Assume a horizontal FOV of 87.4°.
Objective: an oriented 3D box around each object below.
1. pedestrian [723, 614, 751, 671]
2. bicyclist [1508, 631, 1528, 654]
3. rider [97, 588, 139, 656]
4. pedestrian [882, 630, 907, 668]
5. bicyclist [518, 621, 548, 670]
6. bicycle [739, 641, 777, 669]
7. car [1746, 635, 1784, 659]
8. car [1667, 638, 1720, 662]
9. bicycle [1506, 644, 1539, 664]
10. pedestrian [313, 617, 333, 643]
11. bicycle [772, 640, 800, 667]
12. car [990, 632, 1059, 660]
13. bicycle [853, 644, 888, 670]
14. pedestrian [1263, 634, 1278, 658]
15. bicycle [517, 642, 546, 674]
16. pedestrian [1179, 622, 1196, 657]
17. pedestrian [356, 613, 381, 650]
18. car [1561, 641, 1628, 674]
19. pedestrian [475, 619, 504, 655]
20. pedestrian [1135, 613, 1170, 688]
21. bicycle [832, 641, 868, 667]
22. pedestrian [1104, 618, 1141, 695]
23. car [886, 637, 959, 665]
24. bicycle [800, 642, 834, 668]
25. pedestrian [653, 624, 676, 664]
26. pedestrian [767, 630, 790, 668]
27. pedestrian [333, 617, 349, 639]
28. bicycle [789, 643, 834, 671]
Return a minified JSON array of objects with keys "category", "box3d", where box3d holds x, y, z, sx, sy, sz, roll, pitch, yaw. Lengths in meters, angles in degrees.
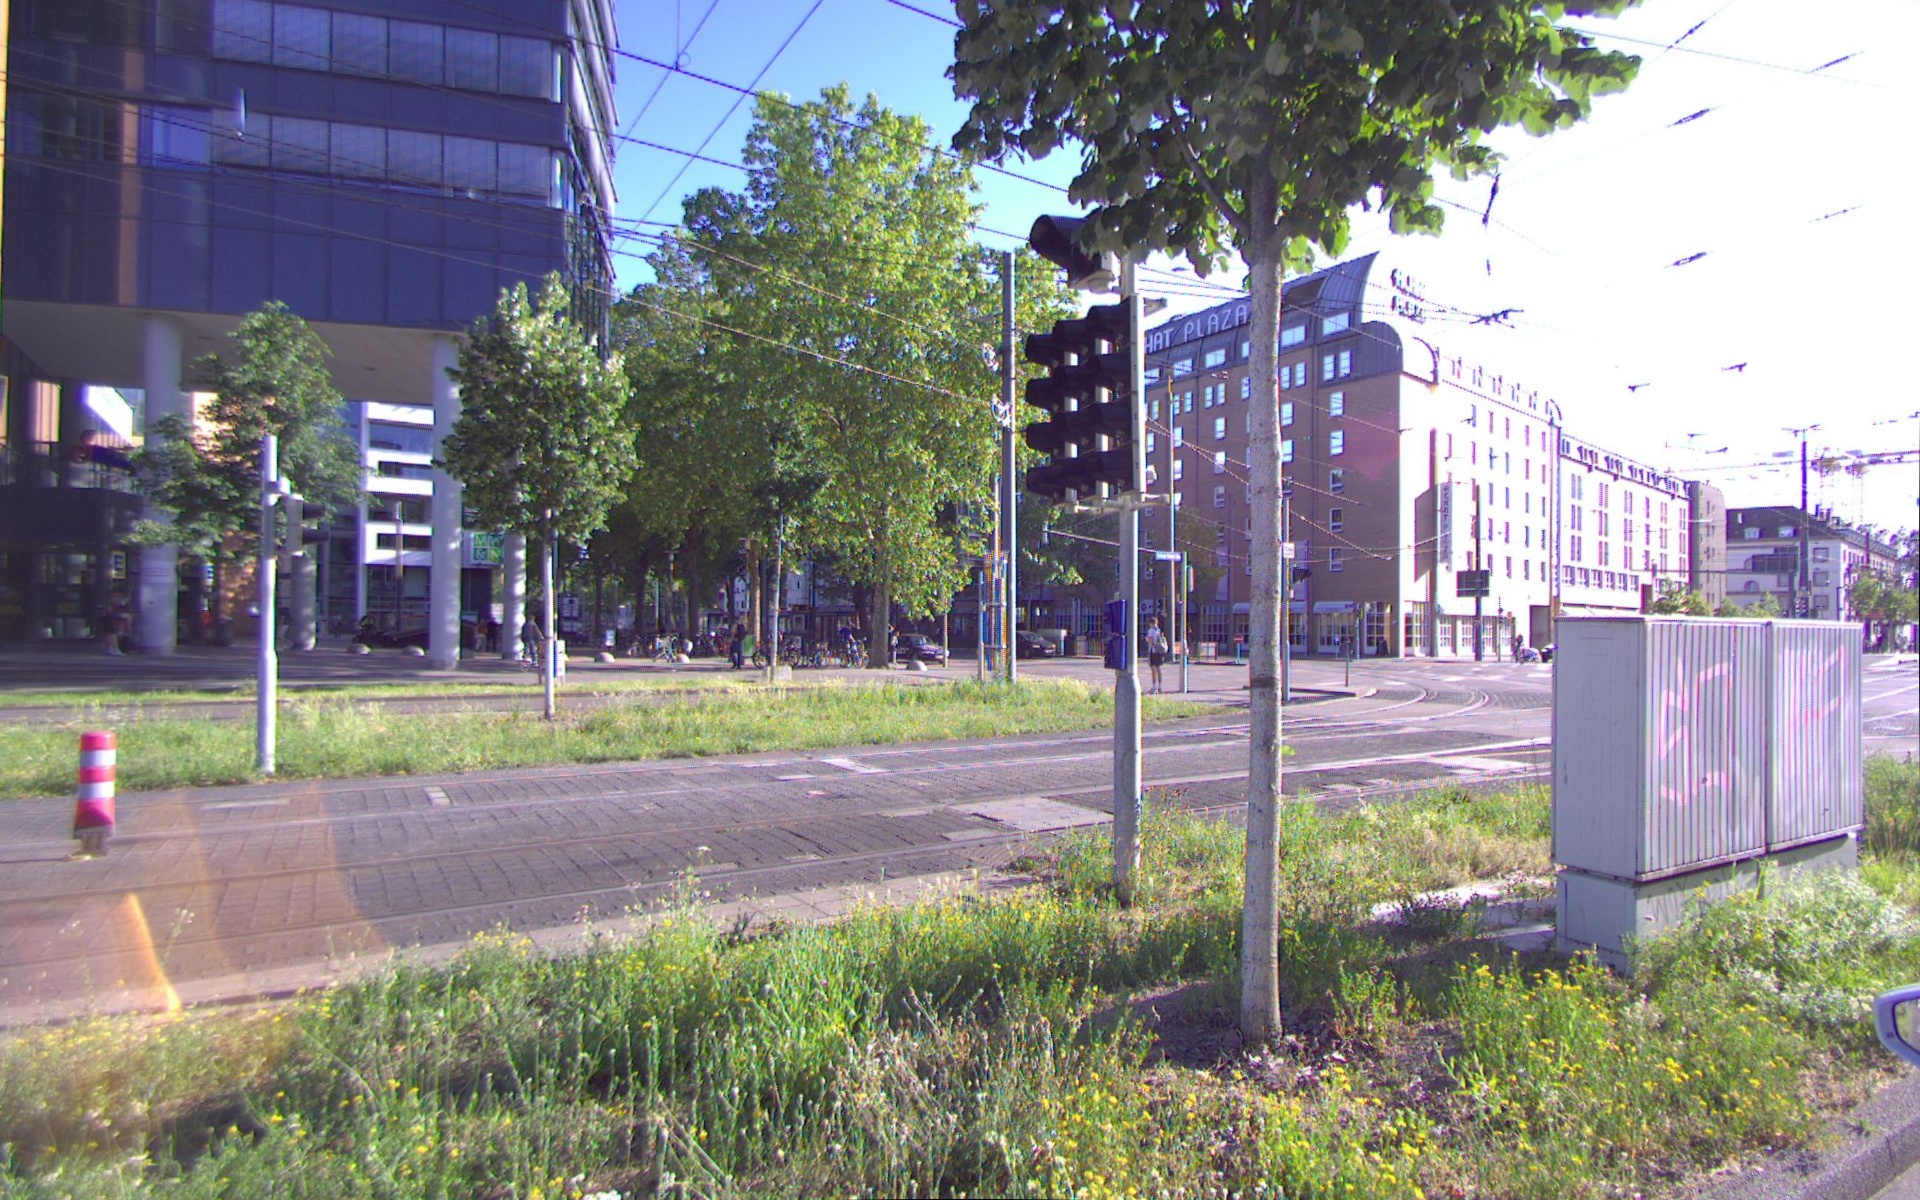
[{"category":"pedestrian","box3d":[-8.135,1.539,36.679,0.826,2.040,0.730,1,0,-25]},{"category":"bicyclist","box3d":[33.379,2.534,60.060,0.942,1.393,0.752,1,-1,-37]},{"category":"rider","box3d":[-22.984,0.602,27.428,0.704,1.826,0.715,1,-1,-29]},{"category":"pedestrian","box3d":[-2.867,2.125,43.996,0.832,1.619,0.692,1,0,-33]},{"category":"bicyclist","box3d":[-13.225,1.398,31.157,0.668,1.484,1.014,1,-1,-14]},{"category":"bicycle","box3d":[-7.582,2.051,37.675,0.538,0.964,1.748,2,-2,-44]},{"category":"car","box3d":[53.539,3.071,66.799,1.726,1.524,3.859,-1,-2,43]},{"category":"car","box3d":[47.592,3.241,65.157,3.960,1.468,1.563,2,-2,-35]},{"category":"bicycle","box3d":[33.842,3.235,60.394,2.901,1.099,0.645,2,-2,-38]},{"category":"pedestrian","box3d":[-38.533,1.808,60.757,0.647,1.500,1.053,1,0,-13]},{"category":"bicycle","box3d":[-6.672,2.050,38.586,0.530,0.964,1.772,1,-1,7]},{"category":"car","box3d":[3.511,2.502,55.290,1.743,1.439,3.960,2,-2,-35]},{"category":"bicycle","box3d":[-3.458,2.178,38.645,0.536,0.964,1.753,1,-2,-36]},{"category":"pedestrian","box3d":[20.271,2.986,65.610,0.652,1.523,0.672,1,-1,-33]},{"category":"bicycle","box3d":[-13.205,1.773,30.988,0.491,0.922,1.884,1,-2,-13]},{"category":"pedestrian","box3d":[13.233,2.290,58.504,0.669,2.040,0.663,1,-1,-29]},{"category":"pedestrian","box3d":[-28.326,1.490,48.095,0.794,1.730,0.789,1,0,-13]},{"category":"car","box3d":[33.841,3.013,53.526,4.705,1.617,1.975,2,-2,-43]},{"category":"pedestrian","box3d":[-23.277,1.809,49.688,1.091,1.730,0.789,1,0,-13]},{"category":"pedestrian","box3d":[4.825,1.256,25.210,0.656,1.841,0.559,1,-1,-36]},{"category":"bicycle","box3d":[-4.229,2.054,38.525,0.536,0.964,1.753,1,-2,-36]},{"category":"pedestrian","box3d":[3.988,1.365,24.685,0.656,1.854,0.627,1,-1,-36]},{"category":"car","box3d":[-1.896,2.488,49.355,1.977,1.283,3.968,1,-2,-30]},{"category":"bicycle","box3d":[-5.497,2.101,38.520,0.536,0.964,1.753,1,-2,-36]},{"category":"pedestrian","box3d":[-12.505,1.873,42.471,0.826,1.667,0.730,1,-1,-25]},{"category":"pedestrian","box3d":[-7.935,2.134,43.900,0.826,1.619,0.730,1,0,-25]},{"category":"pedestrian","box3d":[-38.371,1.740,62.308,0.651,1.294,0.636,1,0,-13]},{"category":"bicycle","box3d":[-5.487,2.092,37.046,1.742,0.964,0.540,0,-1,34]}]
